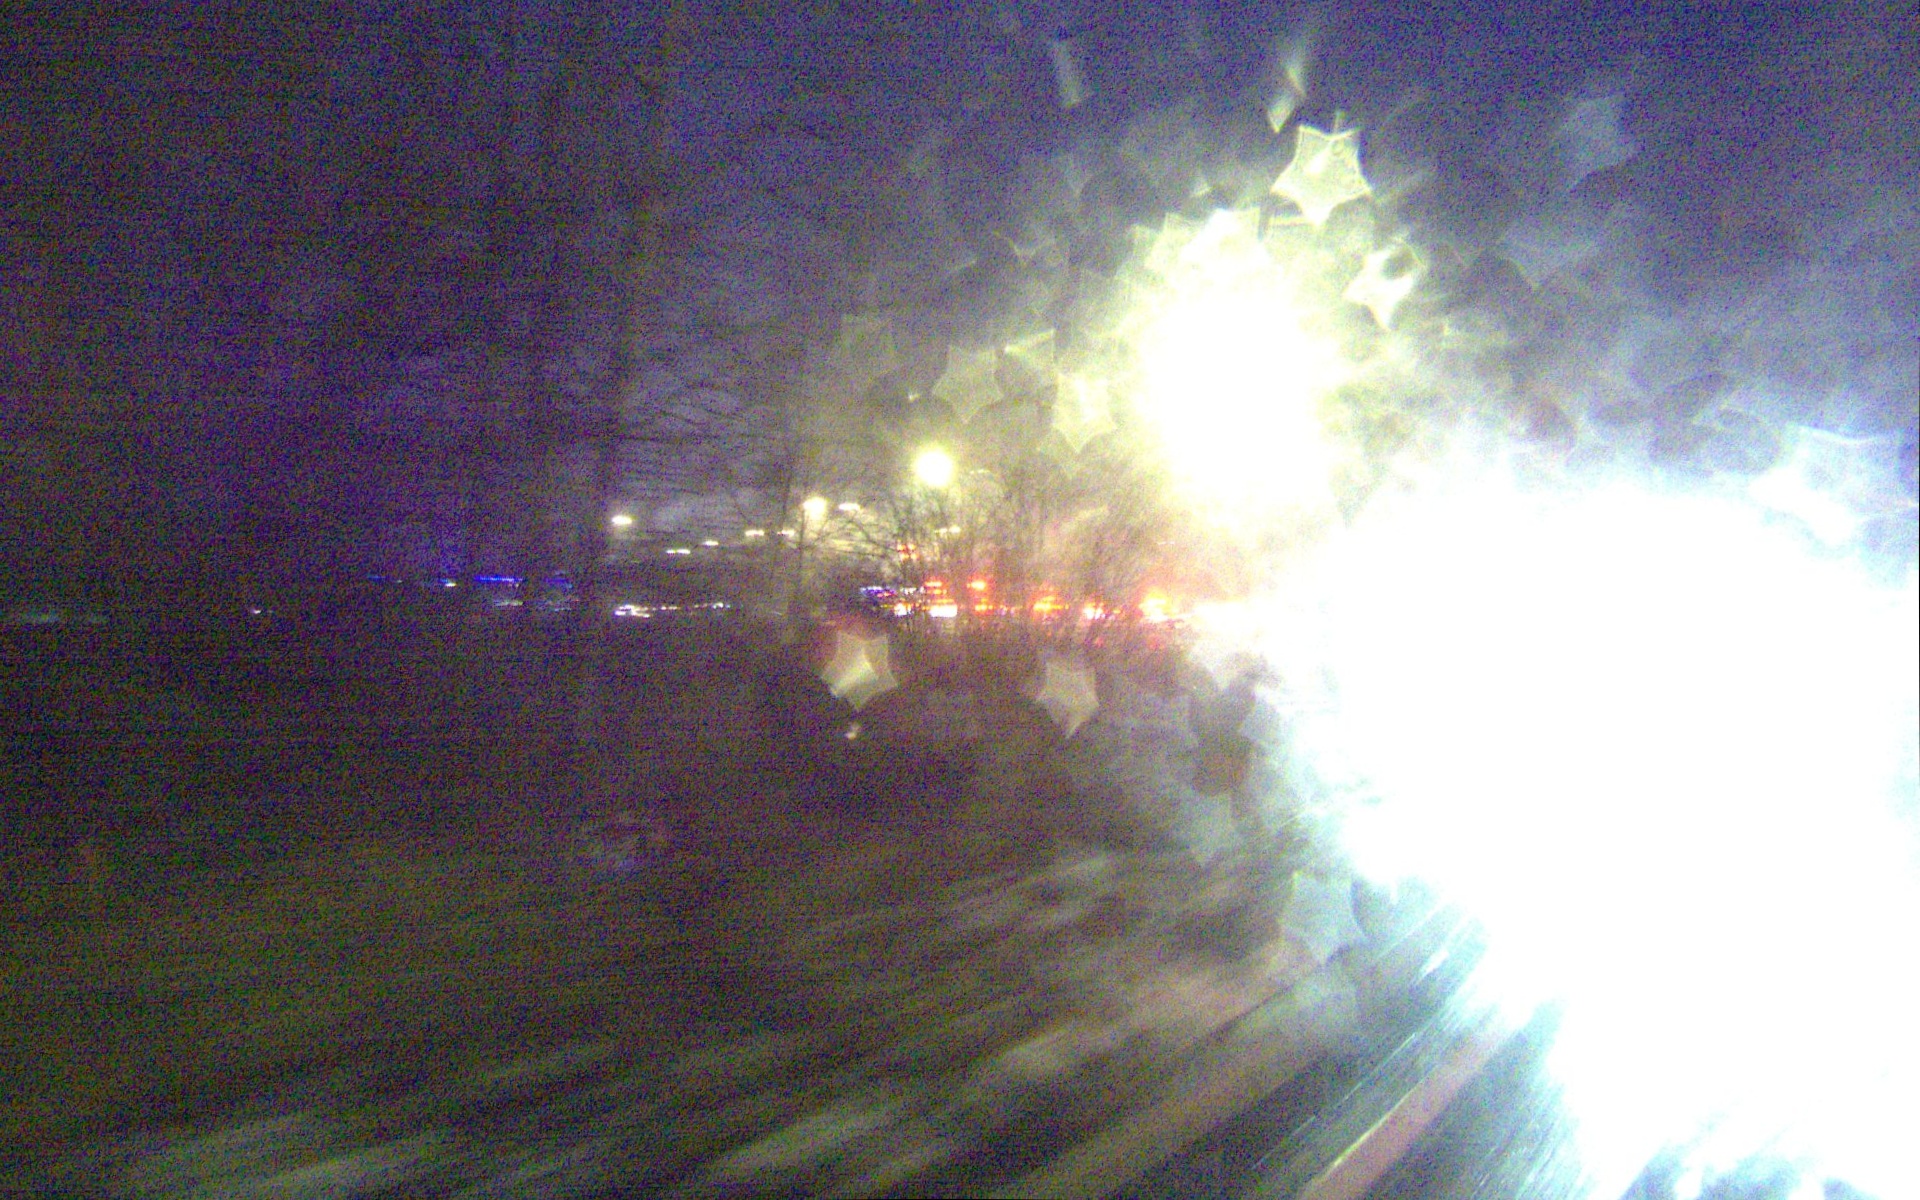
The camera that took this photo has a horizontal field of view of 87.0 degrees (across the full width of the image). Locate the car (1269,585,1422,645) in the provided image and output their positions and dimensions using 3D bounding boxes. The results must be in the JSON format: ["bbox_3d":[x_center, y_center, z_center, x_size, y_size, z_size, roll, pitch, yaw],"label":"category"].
[{"bbox_3d":[11.507,0.412,30.465,1.795,1.670,4.141,0,0,-28],"label":"car"}]

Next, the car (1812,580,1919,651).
[{"bbox_3d":[26.470,0.416,27.902,1.731,1.916,4.212,0,0,-25],"label":"car"}]

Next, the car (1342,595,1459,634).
[{"bbox_3d":[18.598,0.585,42.955,1.850,1.550,4.438,0,0,-25],"label":"car"}]

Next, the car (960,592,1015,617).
[{"bbox_3d":[1.762,0.285,65.907,1.781,1.598,4.312,1,0,-26],"label":"car"}]

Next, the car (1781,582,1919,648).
[{"bbox_3d":[23.972,0.361,25.890,1.751,1.629,4.250,0,0,-26],"label":"car"}]

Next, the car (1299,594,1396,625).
[{"bbox_3d":[15.924,0.368,41.731,1.615,1.218,3.620,0,0,-26],"label":"car"}]

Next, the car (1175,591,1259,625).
[{"bbox_3d":[13.683,0.405,54.223,1.819,1.558,4.541,3,0,-26],"label":"car"}]

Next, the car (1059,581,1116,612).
[{"bbox_3d":[8.262,-0.262,65.895,1.729,1.871,4.132,0,1,-26],"label":"car"}]

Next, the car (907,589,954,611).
[{"bbox_3d":[-2.120,-0.001,71.895,1.746,1.502,4.419,-1,0,-24],"label":"car"}]

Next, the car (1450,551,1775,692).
[{"bbox_3d":[10.361,0.298,16.570,1.963,1.950,4.376,-1,0,-10],"label":"car"}]

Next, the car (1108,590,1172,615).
[{"bbox_3d":[10.725,0.113,60.418,1.729,1.394,4.047,0,2,-26],"label":"car"}]
